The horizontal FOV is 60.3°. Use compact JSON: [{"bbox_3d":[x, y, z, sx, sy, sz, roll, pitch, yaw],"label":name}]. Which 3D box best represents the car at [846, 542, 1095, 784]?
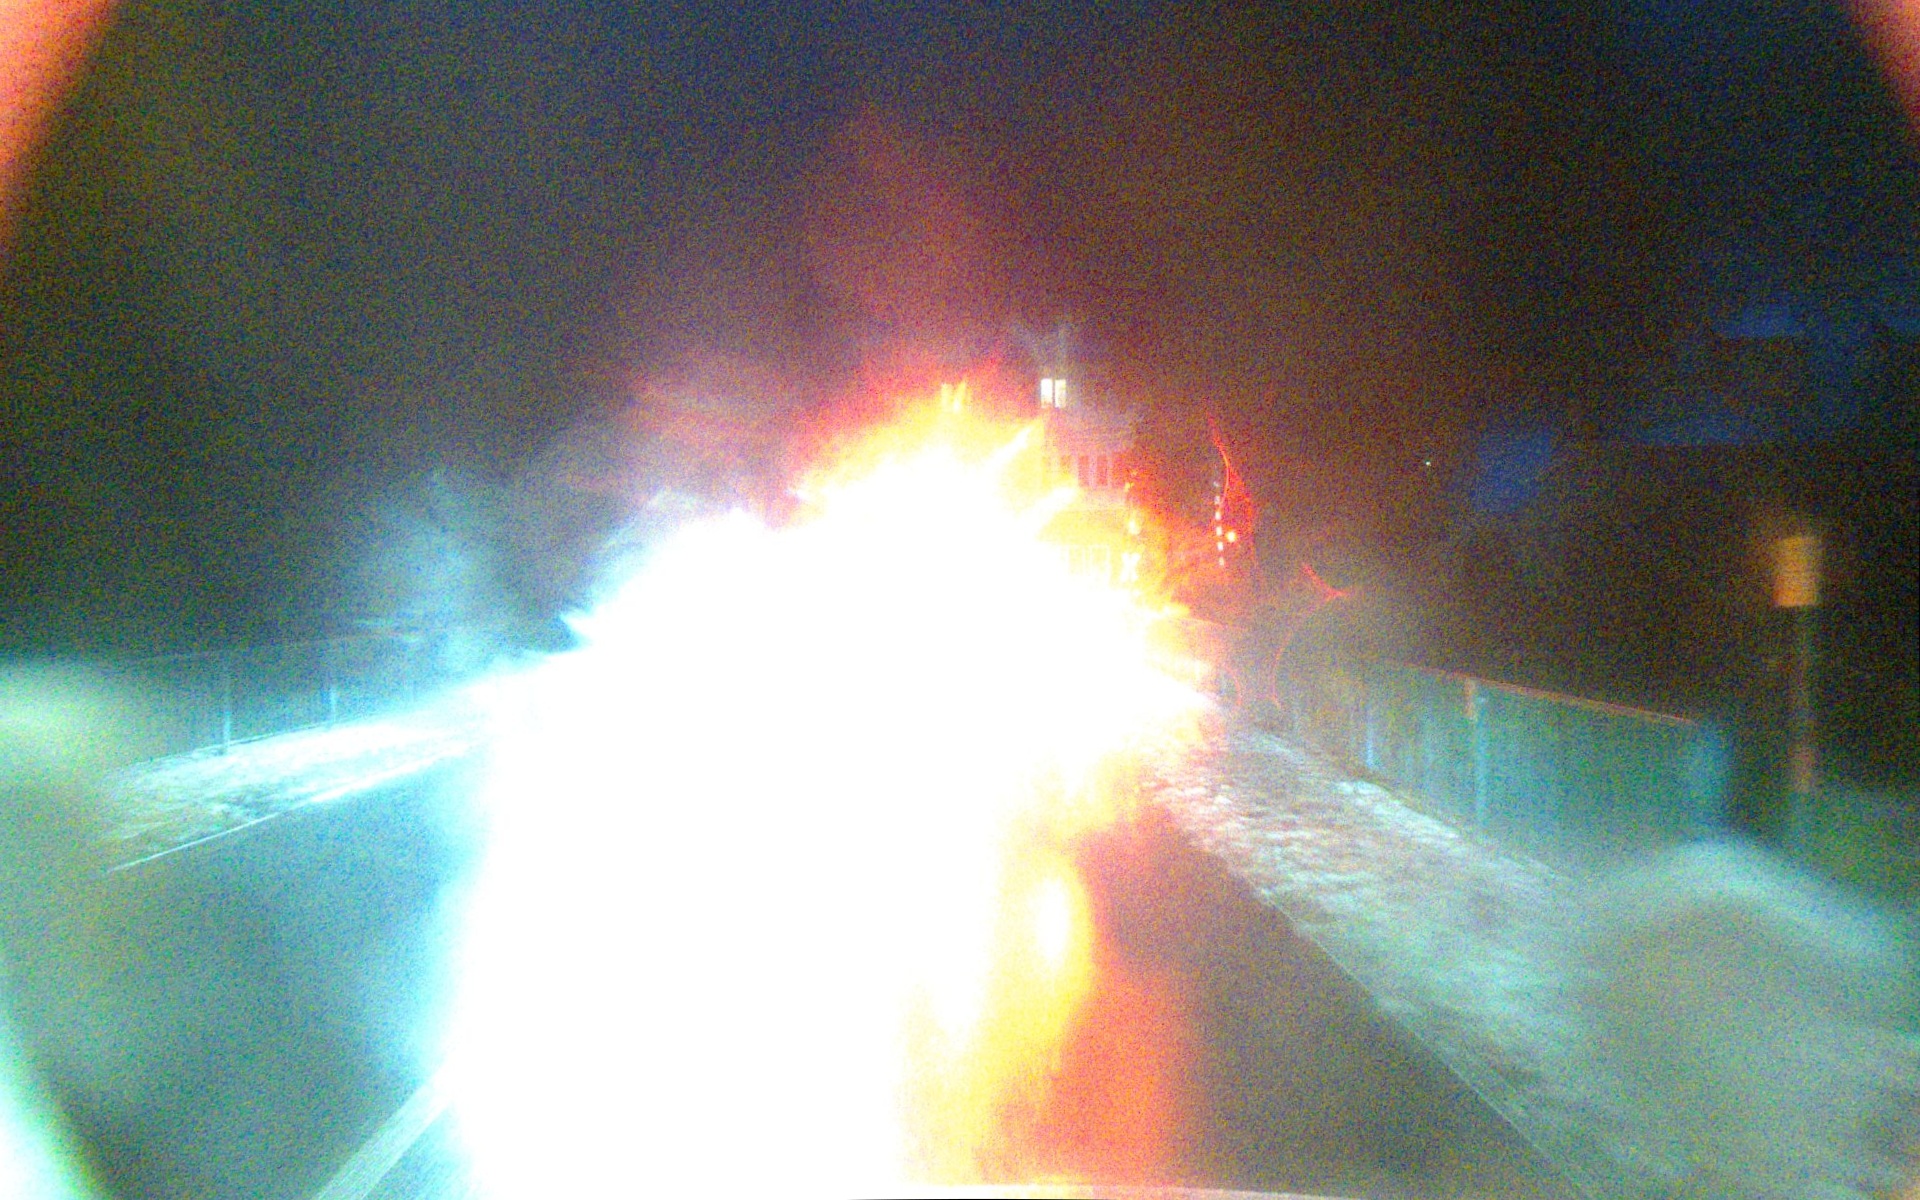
[{"bbox_3d":[0.109,0.417,13.733,1.754,1.710,3.905,-1,1,1],"label":"car"}]

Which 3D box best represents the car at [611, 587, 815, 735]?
[{"bbox_3d":[-3.033,0.721,21.209,1.836,1.572,4.355,-4,-1,0],"label":"car"}]

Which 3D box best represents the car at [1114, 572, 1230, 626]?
[{"bbox_3d":[7.751,-0.025,60.527,4.110,1.831,2.001,2,-1,7],"label":"car"}]
